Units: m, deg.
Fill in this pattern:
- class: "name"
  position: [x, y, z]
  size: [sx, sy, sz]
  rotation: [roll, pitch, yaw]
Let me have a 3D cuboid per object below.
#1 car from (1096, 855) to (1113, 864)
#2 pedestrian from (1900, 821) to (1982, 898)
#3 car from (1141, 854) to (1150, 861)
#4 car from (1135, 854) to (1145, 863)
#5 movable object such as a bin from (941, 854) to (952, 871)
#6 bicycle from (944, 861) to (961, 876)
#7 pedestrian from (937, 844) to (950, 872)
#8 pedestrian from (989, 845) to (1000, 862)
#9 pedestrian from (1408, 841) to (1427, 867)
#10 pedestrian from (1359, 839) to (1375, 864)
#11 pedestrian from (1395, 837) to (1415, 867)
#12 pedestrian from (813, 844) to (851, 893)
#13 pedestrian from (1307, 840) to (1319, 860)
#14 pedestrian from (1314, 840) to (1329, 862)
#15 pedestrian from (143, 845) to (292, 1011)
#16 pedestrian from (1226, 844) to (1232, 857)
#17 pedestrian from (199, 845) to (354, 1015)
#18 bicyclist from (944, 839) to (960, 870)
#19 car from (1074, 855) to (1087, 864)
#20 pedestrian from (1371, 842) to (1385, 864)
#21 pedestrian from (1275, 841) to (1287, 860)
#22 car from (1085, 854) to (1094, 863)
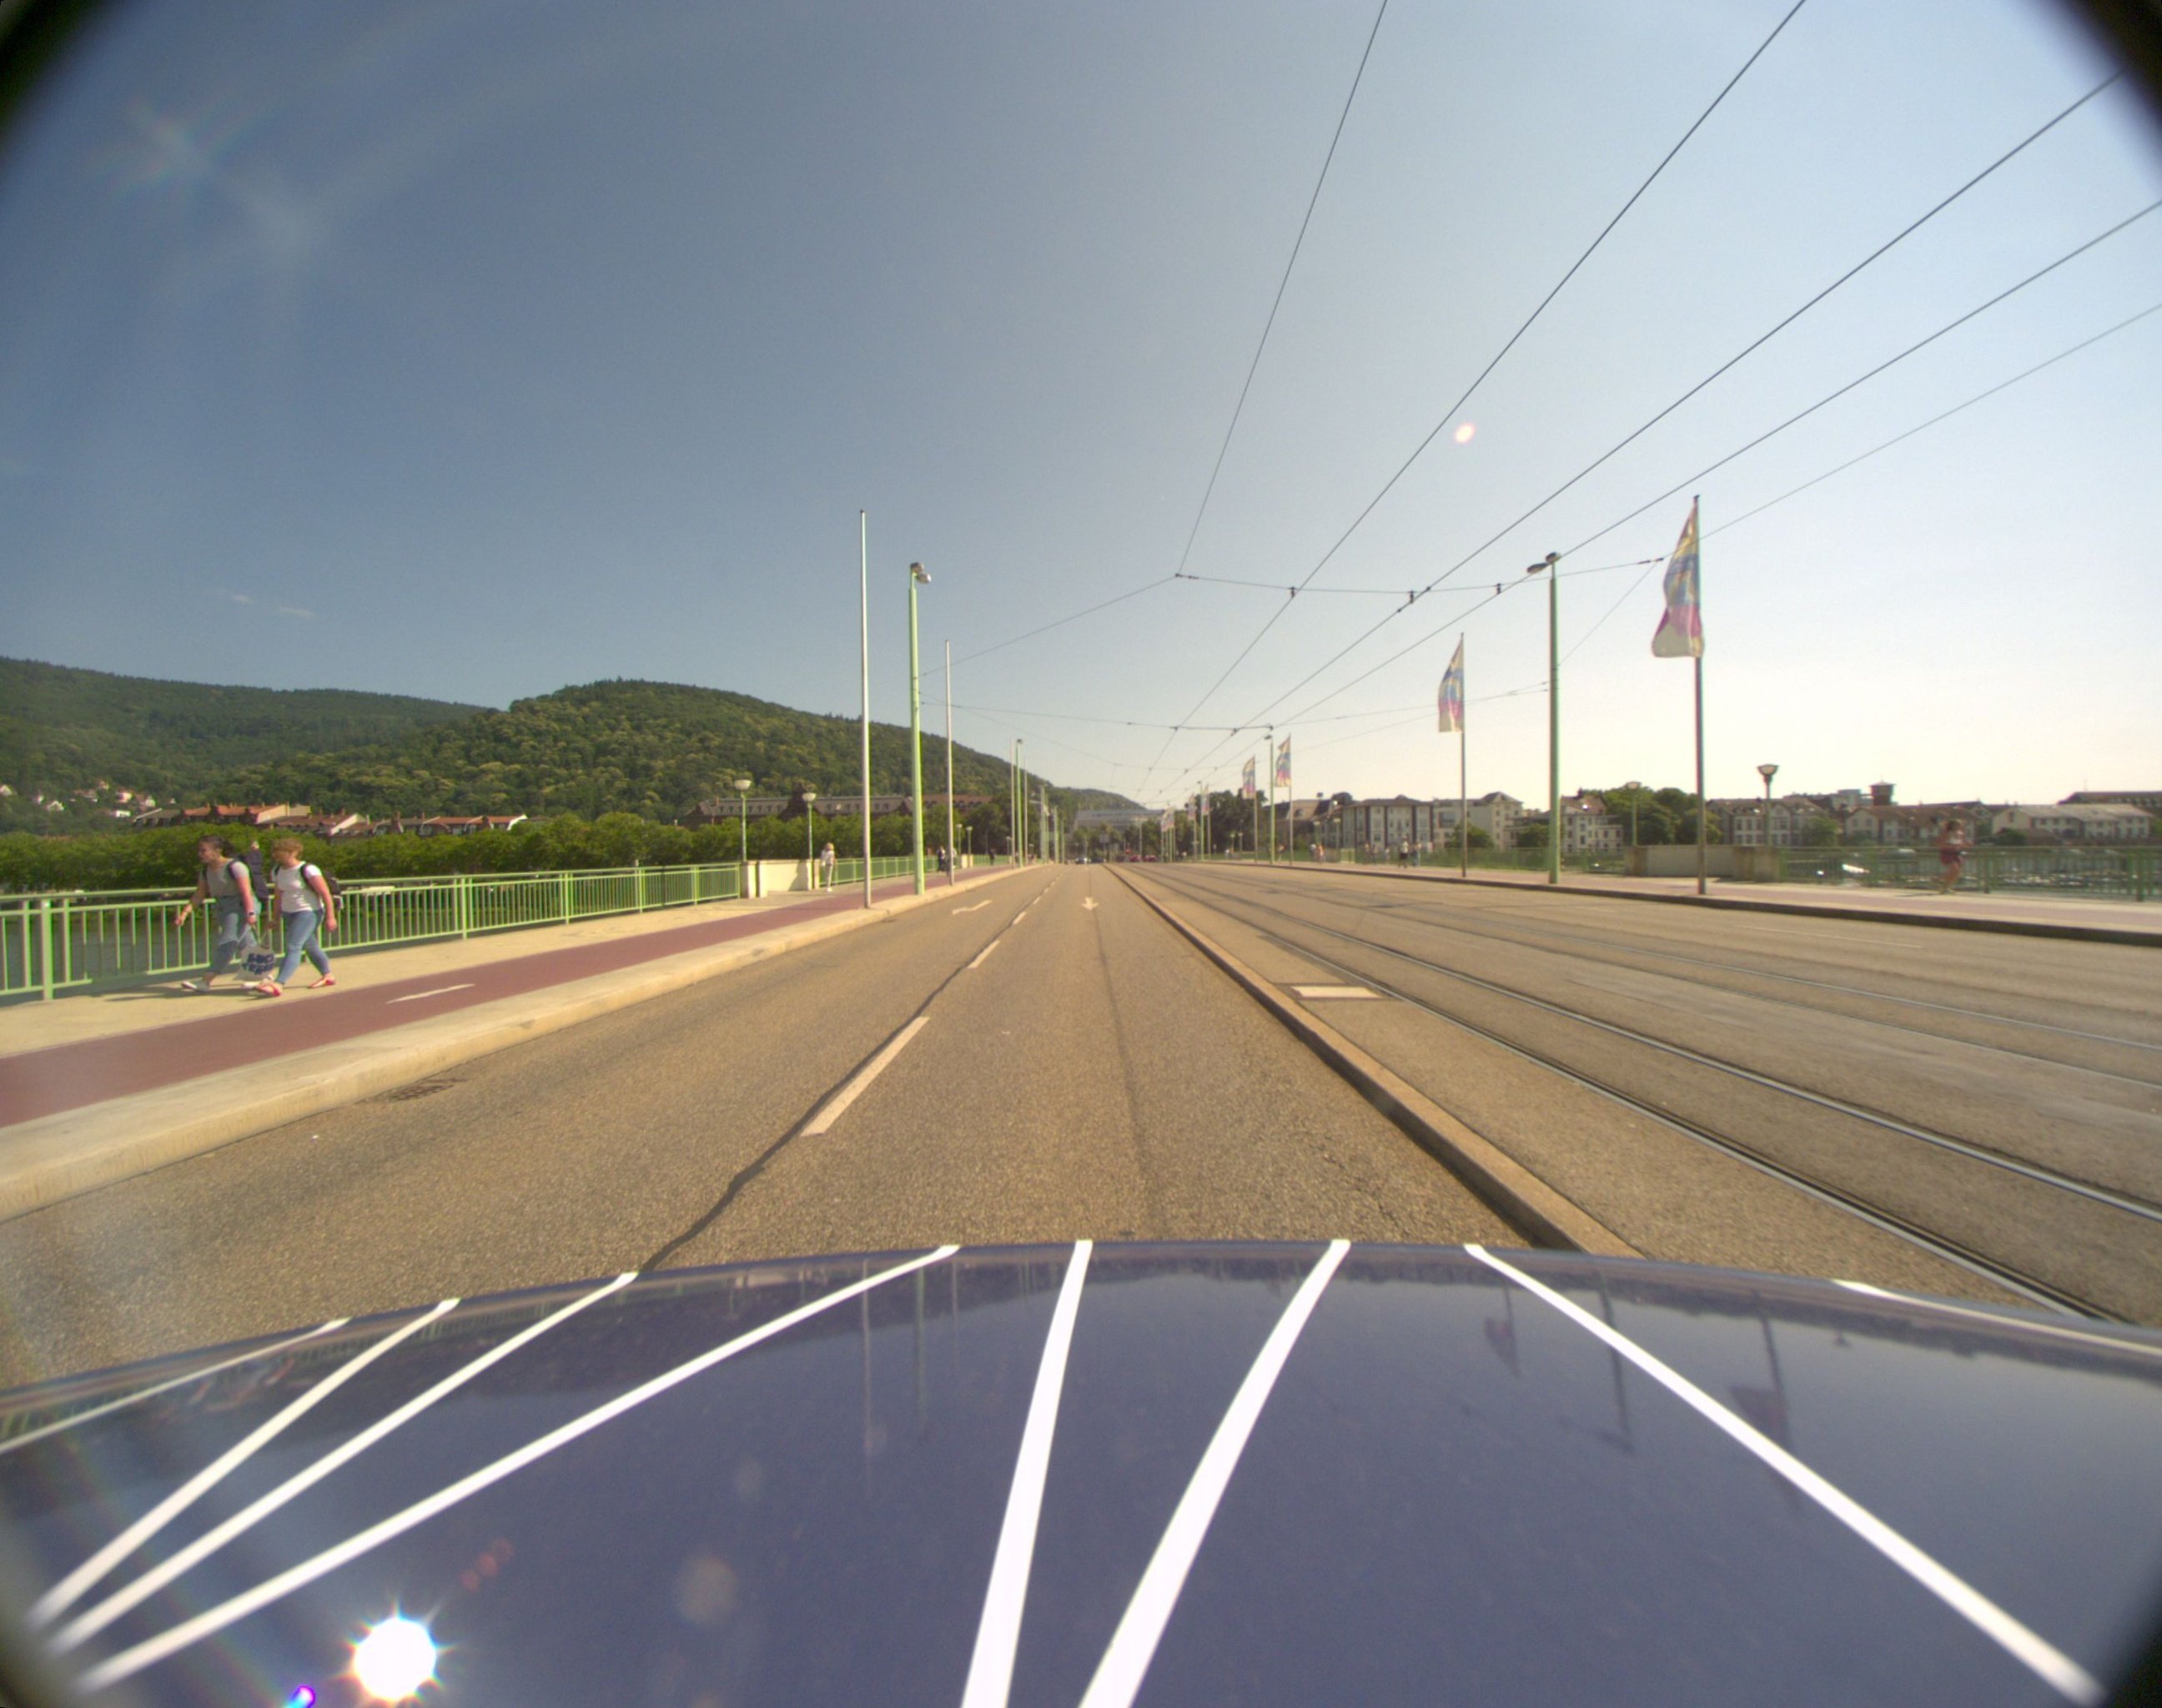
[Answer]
- class: "car"
  position: [6.019, 1.385, 196.485]
  size: [3.998, 2.002, 1.999]
  rotation: [-6, 1, -2]
- class: "pedestrian"
  position: [19.567, 0.116, 17.310]
  size: [0.686, 1.681, 1.022]
  rotation: [-3, 1, 0]
- class: "car"
  position: [14.152, 0.814, 165.731]
  size: [1.672, 1.428, 3.999]
  rotation: [-1, 1, 1]
- class: "car"
  position: [12.327, 0.997, 158.116]
  size: [1.714, 1.687, 4.000]
  rotation: [-5, 1, 1]
- class: "movable object such as a bin"
  position: [-8.636, 0.543, 48.775]
  size: [0.583, 1.084, 0.933]
  rotation: [0, 1, 0]
- class: "bicycle"
  position: [-7.051, 0.794, 41.743]
  size: [0.595, 0.761, 1.866]
  rotation: [0, 1, 1]
- class: "pedestrian"
  position: [-8.656, 0.247, 47.925]
  size: [0.664, 1.696, 0.859]
  rotation: [0, 1, 0]
- class: "pedestrian"
  position: [-8.966, -0.066, 78.556]
  size: [0.950, 1.653, 1.082]
  rotation: [1, 1, 0]
- class: "pedestrian"
  position: [19.191, -0.001, 43.300]
  size: [0.592, 1.406, 1.022]
  rotation: [-3, 1, 0]
- class: "pedestrian"
  position: [19.049, -0.162, 50.634]
  size: [0.627, 1.590, 1.022]
  rotation: [-3, 1, 0]
- class: "pedestrian"
  position: [18.479, -0.127, 43.324]
  size: [0.671, 1.690, 1.022]
  rotation: [-3, 1, 0]
- class: "pedestrian"
  position: [-8.762, 0.493, 26.776]
  size: [0.950, 1.653, 1.082]
  rotation: [1, 1, 0]
- class: "pedestrian"
  position: [19.783, -0.338, 64.827]
  size: [0.592, 1.690, 1.022]
  rotation: [-3, 1, 0]
- class: "pedestrian"
  position: [18.601, -0.238, 58.734]
  size: [0.787, 1.690, 1.022]
  rotation: [-3, 1, 0]
- class: "pedestrian"
  position: [-8.974, 0.738, 7.931]
  size: [0.669, 1.650, 0.745]
  rotation: [0, 1, 0]
- class: "pedestrian"
  position: [19.957, -0.472, 102.468]
  size: [0.592, 1.690, 0.905]
  rotation: [-6, 1, 0]
- class: "pedestrian"
  position: [-8.183, 0.729, 7.766]
  size: [0.664, 1.650, 0.825]
  rotation: [0, 1, 0]
- class: "bicyclist"
  position: [-7.067, 0.029, 41.615]
  size: [0.731, 1.655, 0.844]
  rotation: [0, 1, 1]
- class: "car"
  position: [-0.010, 0.913, 127.738]
  size: [1.998, 1.379, 4.000]
  rotation: [-6, 1, 1]
- class: "pedestrian"
  position: [19.757, -0.059, 50.493]
  size: [0.547, 1.429, 0.789]
  rotation: [-3, 1, 0]
- class: "pedestrian"
  position: [18.862, -0.324, 71.677]
  size: [0.787, 1.690, 1.022]
  rotation: [-3, 1, 0]
- class: "car"
  position: [1.870, 0.935, 166.912]
  size: [1.998, 1.687, 3.999]
  rotation: [-2, 2, 1]
